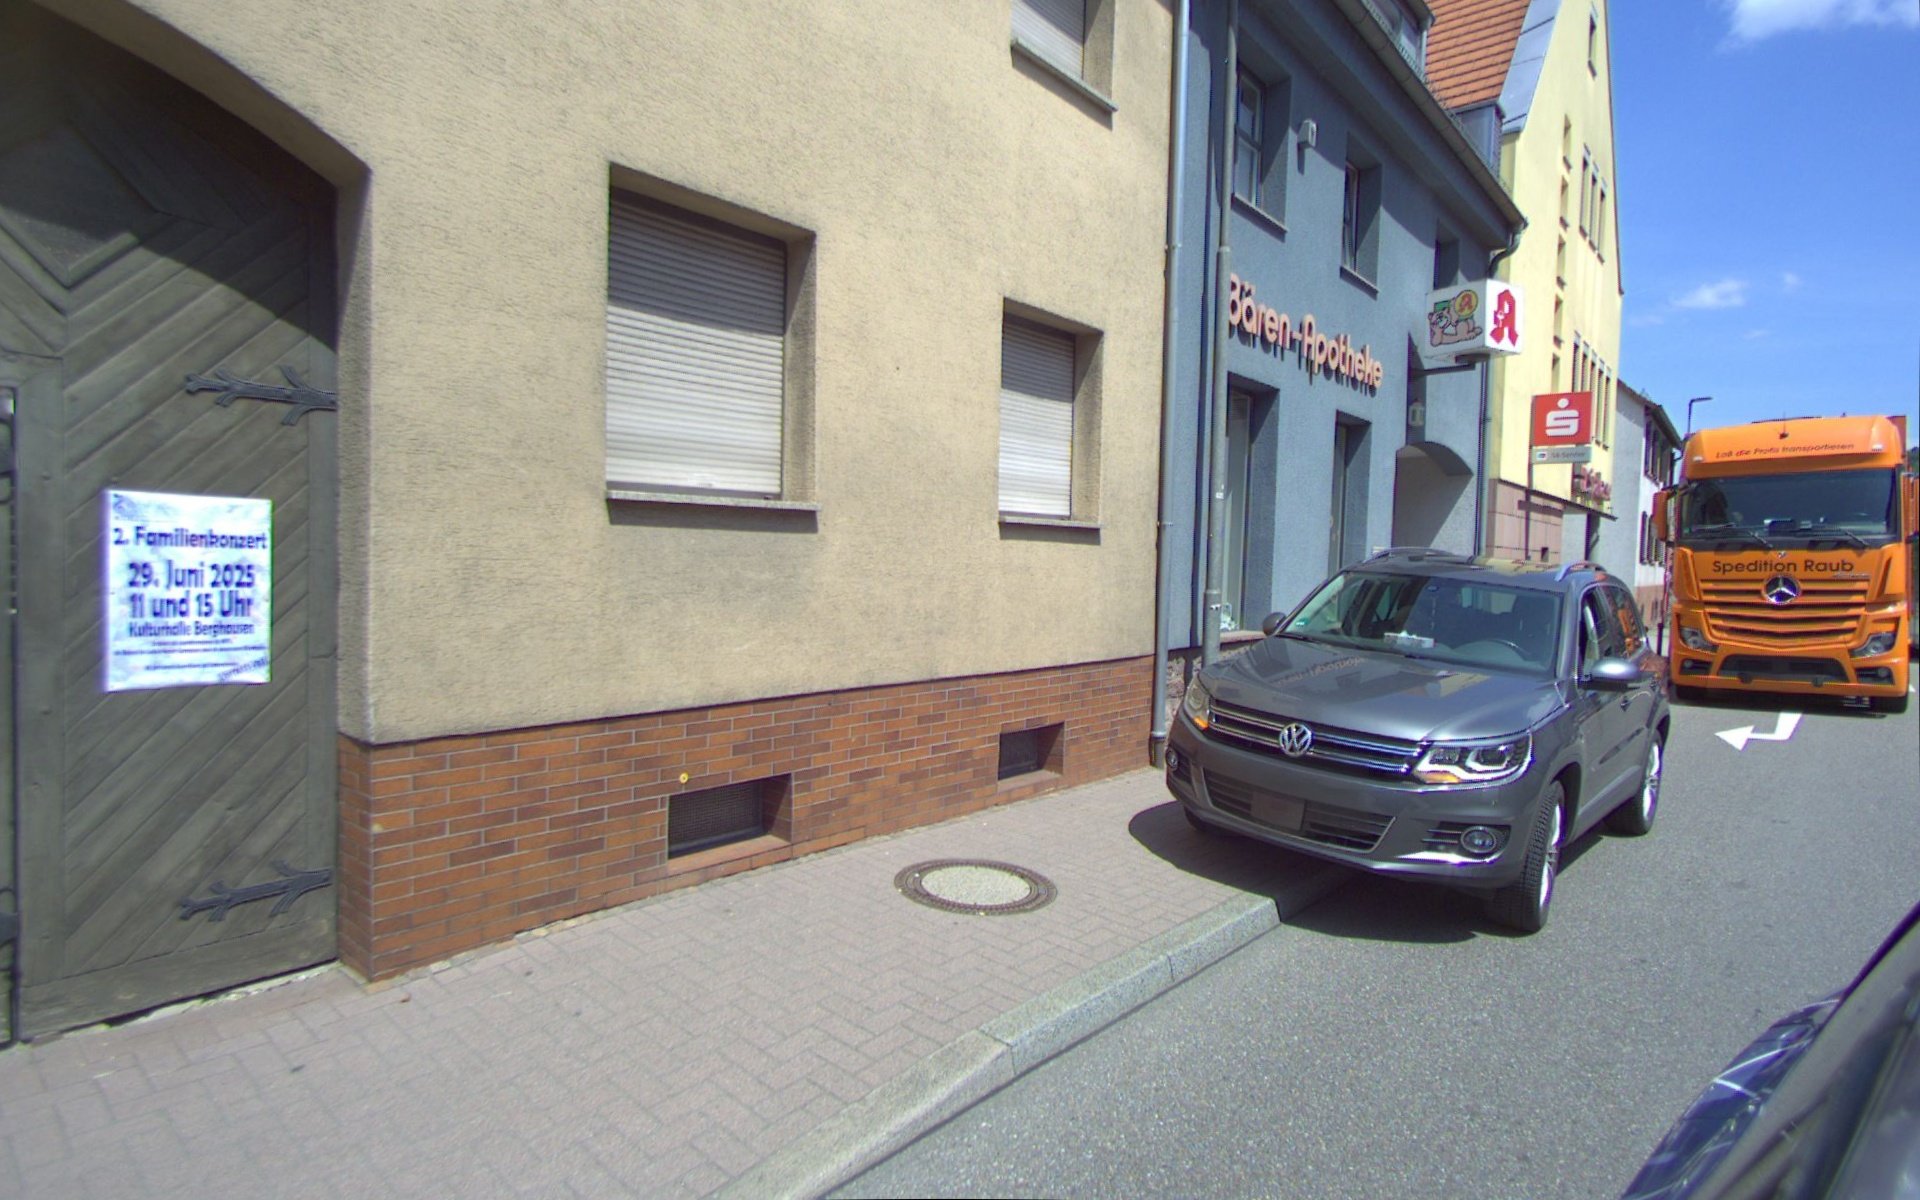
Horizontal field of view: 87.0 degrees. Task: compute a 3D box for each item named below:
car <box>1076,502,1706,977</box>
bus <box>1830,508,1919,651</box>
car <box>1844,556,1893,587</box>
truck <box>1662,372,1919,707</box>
[{"bbox_3d":[2.726,0.435,5.872,1.995,1.729,4.036,6,5,43],"label":"car"},{"bbox_3d":[27.486,-0.481,28.476,2.844,3.244,18.787,2,2,36],"label":"bus"},{"bbox_3d":[48.401,-1.517,53.959,1.594,1.472,3.401,5,4,37],"label":"car"},{"bbox_3d":[13.858,-0.700,16.517,2.607,3.996,9.836,0,0,43],"label":"truck"}]
